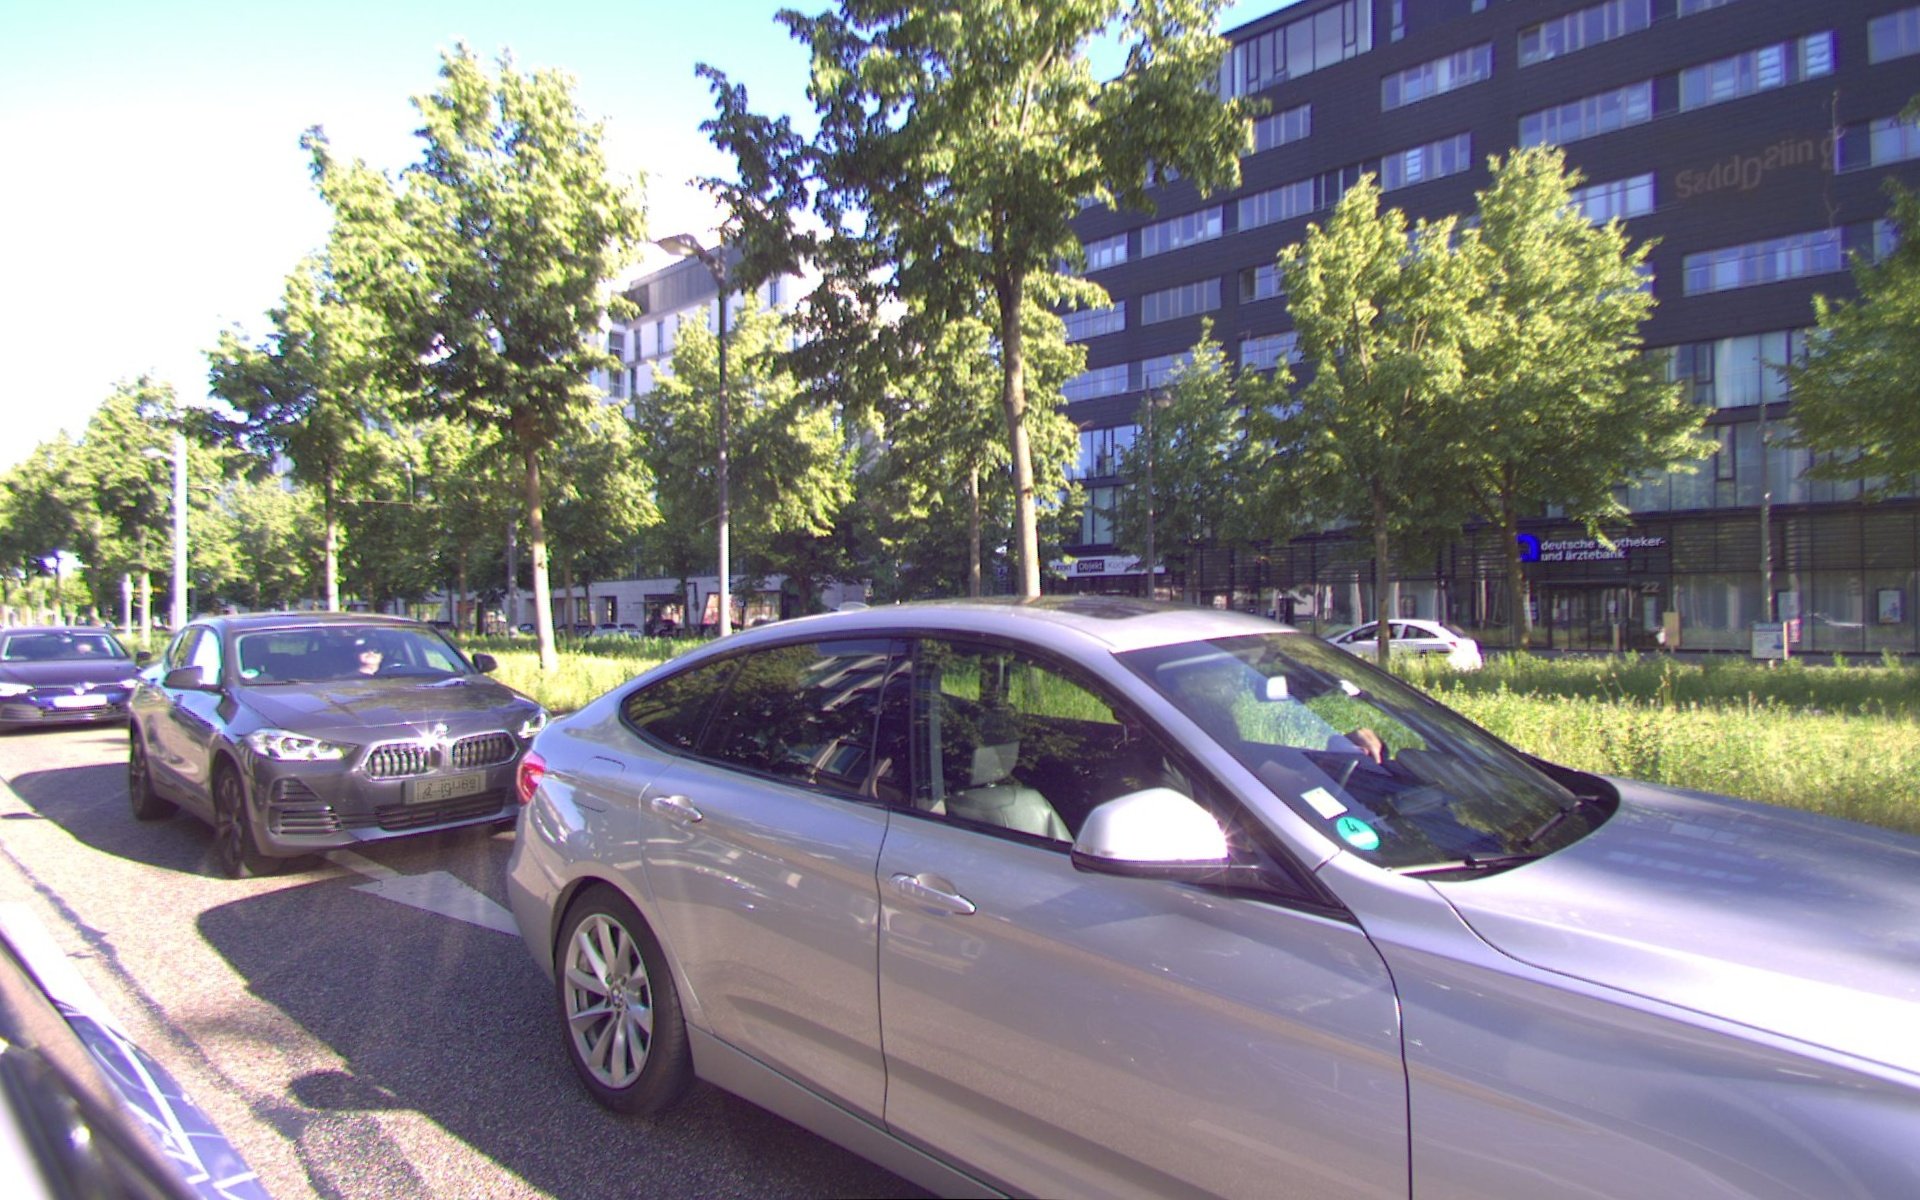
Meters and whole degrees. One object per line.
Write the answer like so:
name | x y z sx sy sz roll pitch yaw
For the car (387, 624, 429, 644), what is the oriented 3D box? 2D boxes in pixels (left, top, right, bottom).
car | -46.577 2.851 85.383 4.182 1.609 1.859 -2 -1 41

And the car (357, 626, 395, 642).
car | -51.772 2.998 89.693 4.001 1.406 1.971 -2 -2 44

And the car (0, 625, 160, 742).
car | -13.119 1.095 14.576 4.344 1.434 1.854 -1 -1 43

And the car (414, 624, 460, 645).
car | -42.122 2.782 81.486 4.182 1.609 1.859 -2 -1 41

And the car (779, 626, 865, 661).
car | -6.760 2.077 49.391 4.182 1.609 1.926 -2 -1 41

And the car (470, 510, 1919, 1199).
car | 0.672 0.680 2.585 4.558 1.495 1.800 -1 -1 40

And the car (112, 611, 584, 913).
car | -4.462 0.853 7.116 4.000 1.502 1.836 -1 -1 43

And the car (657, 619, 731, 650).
car | -14.529 1.889 55.209 4.182 1.609 1.926 -2 -1 41

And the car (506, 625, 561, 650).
car | -29.720 2.590 70.472 4.182 1.609 1.859 -2 -1 41

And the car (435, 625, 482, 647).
car | -38.660 2.736 77.980 4.182 1.609 1.859 -2 -1 41

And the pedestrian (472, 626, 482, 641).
pedestrian | -43.416 3.015 90.973 0.660 1.349 0.597 -2 -1 41

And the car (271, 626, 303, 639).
car | -72.520 3.497 109.071 3.998 1.406 1.972 -2 -2 41

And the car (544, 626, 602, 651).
car | -25.691 2.525 67.060 4.182 1.609 1.859 -2 -1 41

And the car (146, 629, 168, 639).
car | -114.612 4.810 144.507 4.001 1.406 1.971 -2 -2 44

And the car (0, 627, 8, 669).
car | -38.180 1.840 39.012 4.344 1.598 1.854 -1 -1 43

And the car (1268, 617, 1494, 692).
car | 9.795 1.209 23.756 4.565 1.494 1.781 -1 2 40

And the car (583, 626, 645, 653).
car | -21.635 2.467 63.208 4.182 1.609 1.859 -2 -1 41
